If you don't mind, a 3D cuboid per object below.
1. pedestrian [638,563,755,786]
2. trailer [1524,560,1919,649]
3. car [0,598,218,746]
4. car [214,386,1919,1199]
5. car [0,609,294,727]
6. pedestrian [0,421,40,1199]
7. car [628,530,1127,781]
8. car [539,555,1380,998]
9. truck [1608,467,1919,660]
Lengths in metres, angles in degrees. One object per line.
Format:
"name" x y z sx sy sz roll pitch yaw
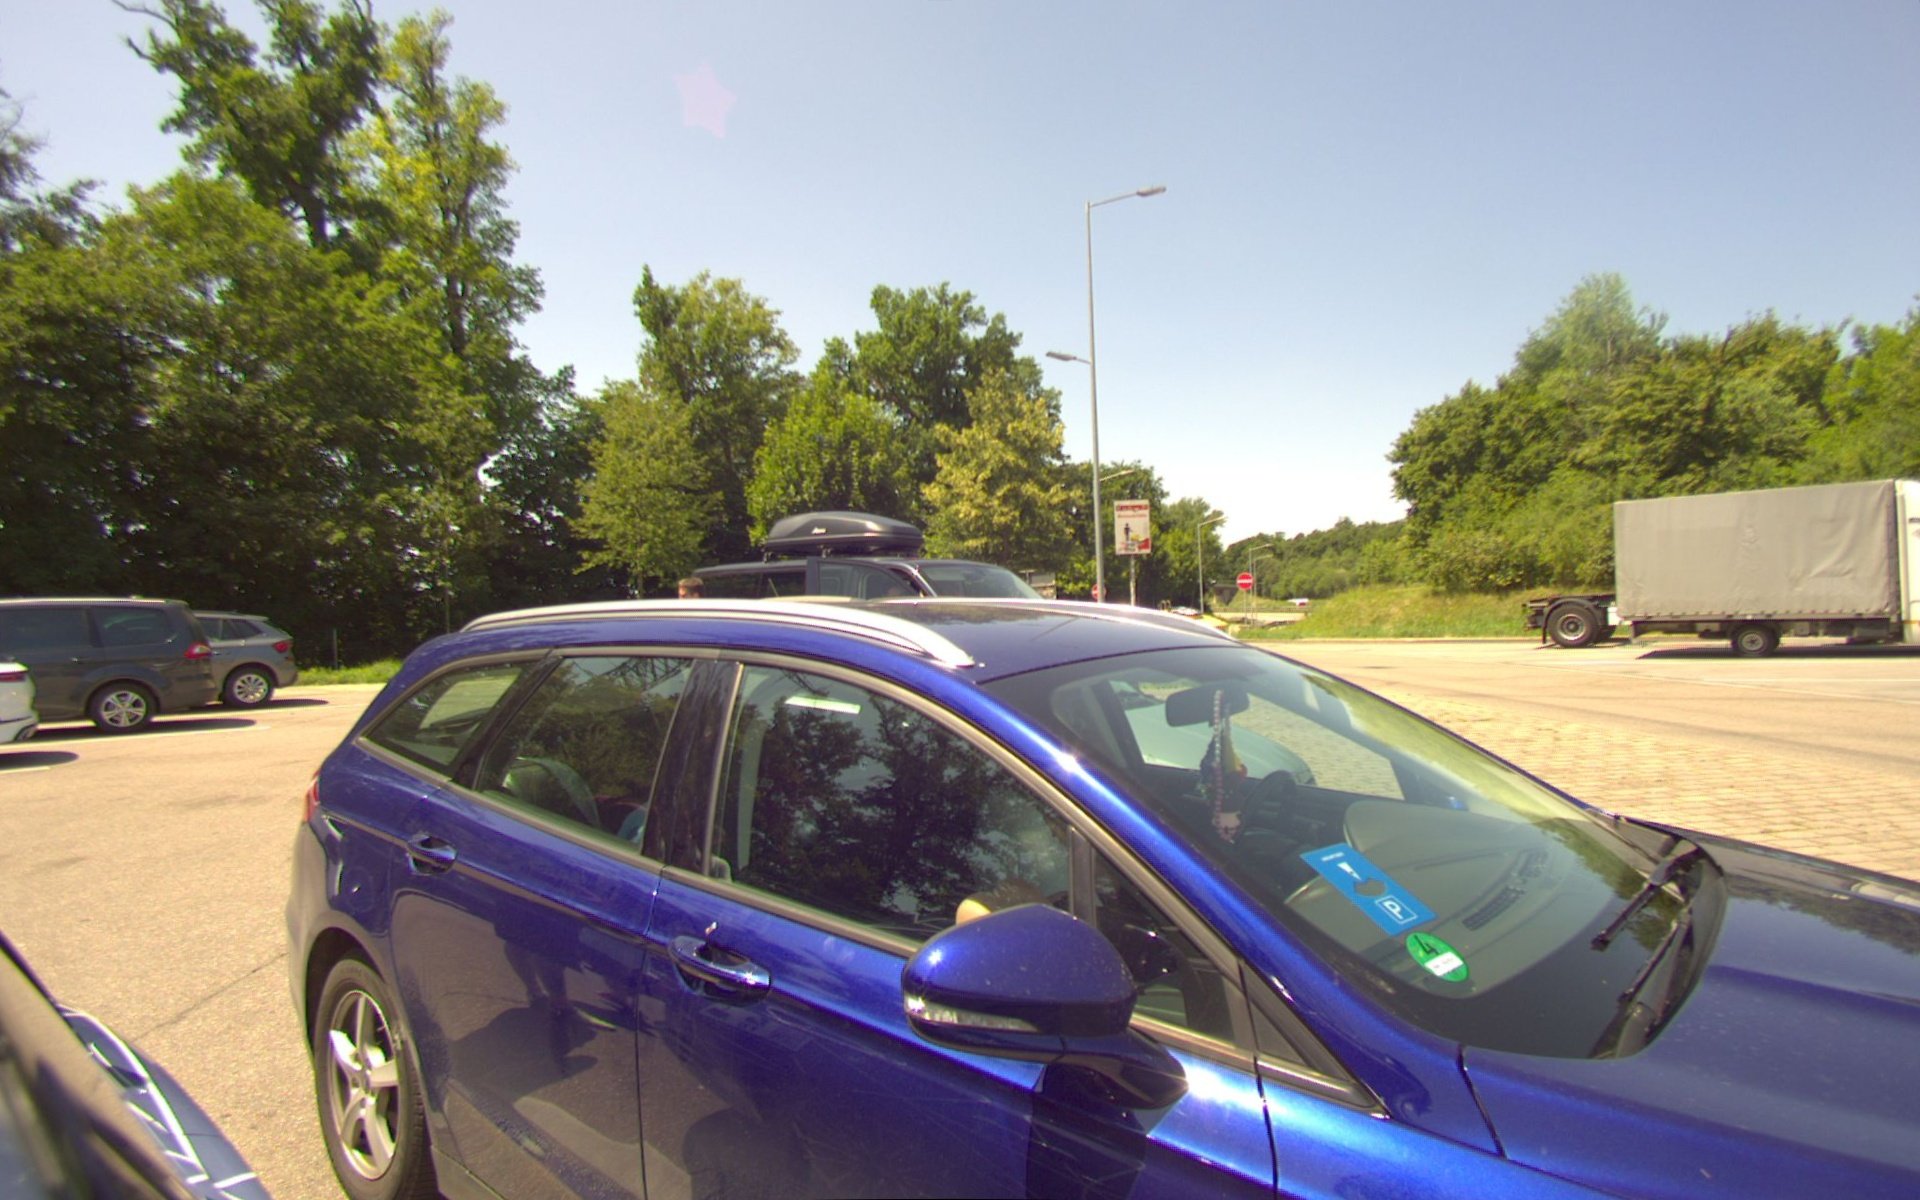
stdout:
"pedestrian" -2.183 0.595 8.475 0.745 1.767 0.785 -1 0 2
"trailer" 17.693 0.153 23.108 8.098 1.638 2.187 -4 -1 41
"car" -11.642 0.864 12.651 3.767 1.708 1.654 -1 0 -38
"car" 0.224 0.632 2.069 4.569 1.482 1.735 -3 0 40
"car" -12.634 0.968 15.657 3.767 1.572 1.654 -1 0 -38
"pedestrian" -2.737 0.519 2.238 0.905 1.919 0.816 -1 0 -33
"car" -0.903 0.496 9.655 4.558 1.912 1.740 -3 0 32
"car" -0.332 0.667 5.606 4.569 1.517 1.735 -3 0 40
"truck" 16.769 -0.651 19.010 7.274 3.269 2.678 -4 -1 42
